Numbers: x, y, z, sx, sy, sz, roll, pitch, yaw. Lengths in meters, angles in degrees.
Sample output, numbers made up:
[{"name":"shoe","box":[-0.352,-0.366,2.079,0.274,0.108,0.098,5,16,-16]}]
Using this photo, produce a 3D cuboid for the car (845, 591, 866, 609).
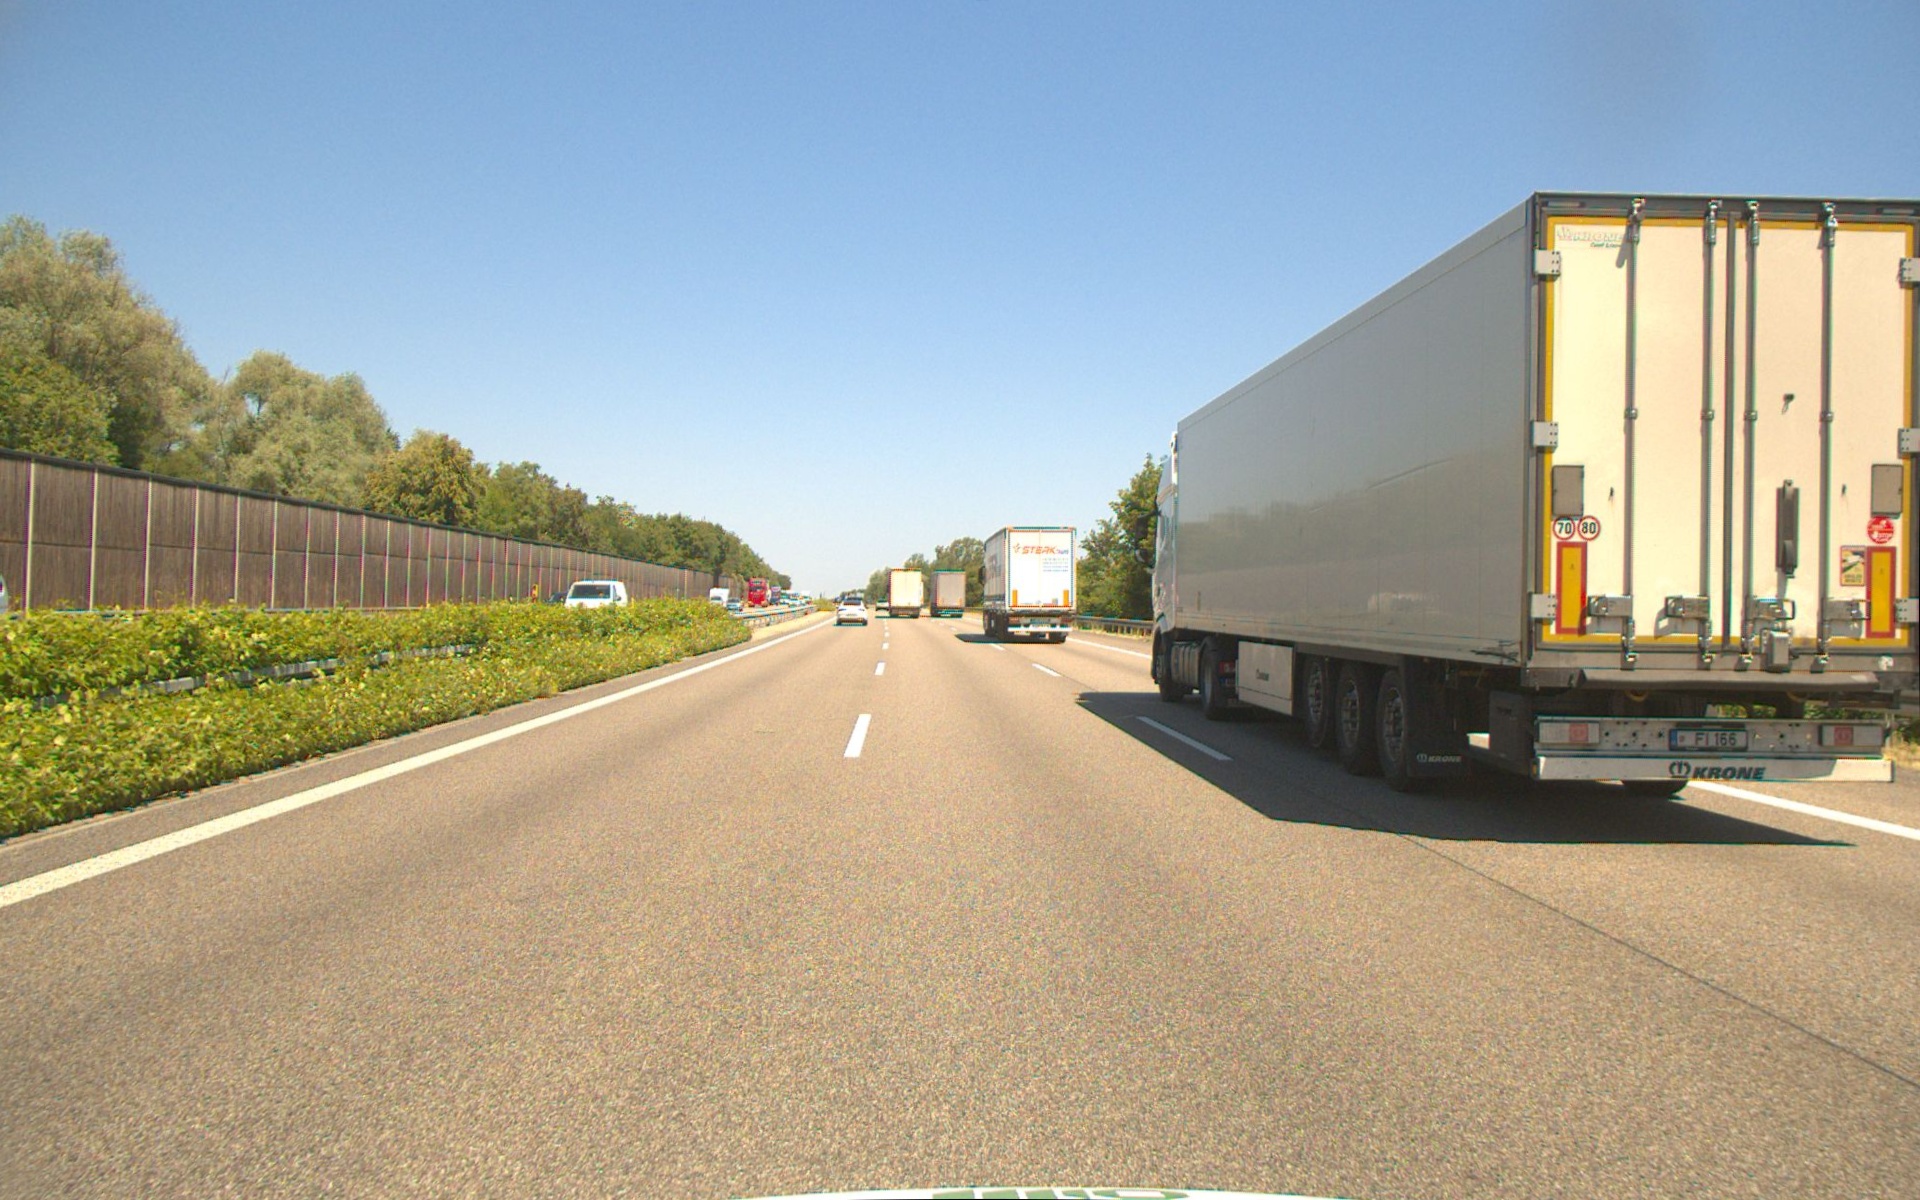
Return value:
[{"name":"car","box":[-9.566,0.010,151.542,1.818,1.645,3.997,1,0,-3]}]

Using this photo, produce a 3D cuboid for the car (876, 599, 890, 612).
[{"name":"car","box":[-10.051,0.726,215.909,1.817,1.645,3.999,1,0,-1]}]

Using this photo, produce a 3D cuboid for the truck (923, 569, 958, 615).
[{"name":"truck","box":[-1.907,-0.713,160.195,2.639,4.289,7.829,2,0,-5]}]

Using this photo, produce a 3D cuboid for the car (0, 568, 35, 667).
[{"name":"car","box":[-20.663,0.349,32.567,1.953,2.049,5.384,1,0,-1]}]

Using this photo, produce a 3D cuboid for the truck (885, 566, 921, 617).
[{"name":"truck","box":[-5.037,-0.699,143.651,2.653,4.157,13.463,2,0,-4]}]

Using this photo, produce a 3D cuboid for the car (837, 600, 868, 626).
[{"name":"car","box":[-6.391,0.757,98.249,1.818,1.512,3.997,1,0,-4]}]

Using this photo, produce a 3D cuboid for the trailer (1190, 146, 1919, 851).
[{"name":"trailer","box":[4.729,-0.600,16.138,2.899,4.178,12.528,1,0,-1]}]

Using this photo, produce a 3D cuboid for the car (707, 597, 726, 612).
[{"name":"car","box":[-29.600,0.550,201.334,1.861,1.741,4.902,1,0,-4]}]

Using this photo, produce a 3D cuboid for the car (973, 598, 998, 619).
[{"name":"car","box":[2.100,0.715,136.963,1.818,1.645,3.997,1,0,-3]}]

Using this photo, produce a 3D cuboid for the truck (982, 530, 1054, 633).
[{"name":"truck","box":[2.396,-0.743,70.549,2.652,4.160,6.962,1,0,-1]}]

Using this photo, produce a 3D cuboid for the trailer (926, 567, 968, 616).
[{"name":"trailer","box":[-1.319,-0.738,154.006,2.651,4.289,13.196,2,0,-5]}]

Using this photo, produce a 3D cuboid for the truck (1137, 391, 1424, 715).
[{"name":"truck","box":[4.494,-0.607,24.559,2.899,4.178,6.205,1,0,-2]}]

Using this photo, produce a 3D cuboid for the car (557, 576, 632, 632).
[{"name":"car","box":[-14.126,0.141,64.283,1.954,2.049,5.343,1,0,-3]}]

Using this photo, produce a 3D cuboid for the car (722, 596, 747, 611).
[{"name":"car","box":[-23.783,0.341,174.715,2.082,1.549,5.980,1,0,-2]}]

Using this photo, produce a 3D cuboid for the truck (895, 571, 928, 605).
[{"name":"truck","box":[-6.880,-1.651,230.812,3.311,4.378,11.431,4,0,-7]}]

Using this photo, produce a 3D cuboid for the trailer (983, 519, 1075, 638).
[{"name":"trailer","box":[2.525,-0.738,65.133,2.652,4.160,14.146,1,0,-1]}]

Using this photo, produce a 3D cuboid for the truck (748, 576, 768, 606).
[{"name":"truck","box":[-29.395,-1.282,240.477,2.311,4.147,7.148,1,0,-3]}]
